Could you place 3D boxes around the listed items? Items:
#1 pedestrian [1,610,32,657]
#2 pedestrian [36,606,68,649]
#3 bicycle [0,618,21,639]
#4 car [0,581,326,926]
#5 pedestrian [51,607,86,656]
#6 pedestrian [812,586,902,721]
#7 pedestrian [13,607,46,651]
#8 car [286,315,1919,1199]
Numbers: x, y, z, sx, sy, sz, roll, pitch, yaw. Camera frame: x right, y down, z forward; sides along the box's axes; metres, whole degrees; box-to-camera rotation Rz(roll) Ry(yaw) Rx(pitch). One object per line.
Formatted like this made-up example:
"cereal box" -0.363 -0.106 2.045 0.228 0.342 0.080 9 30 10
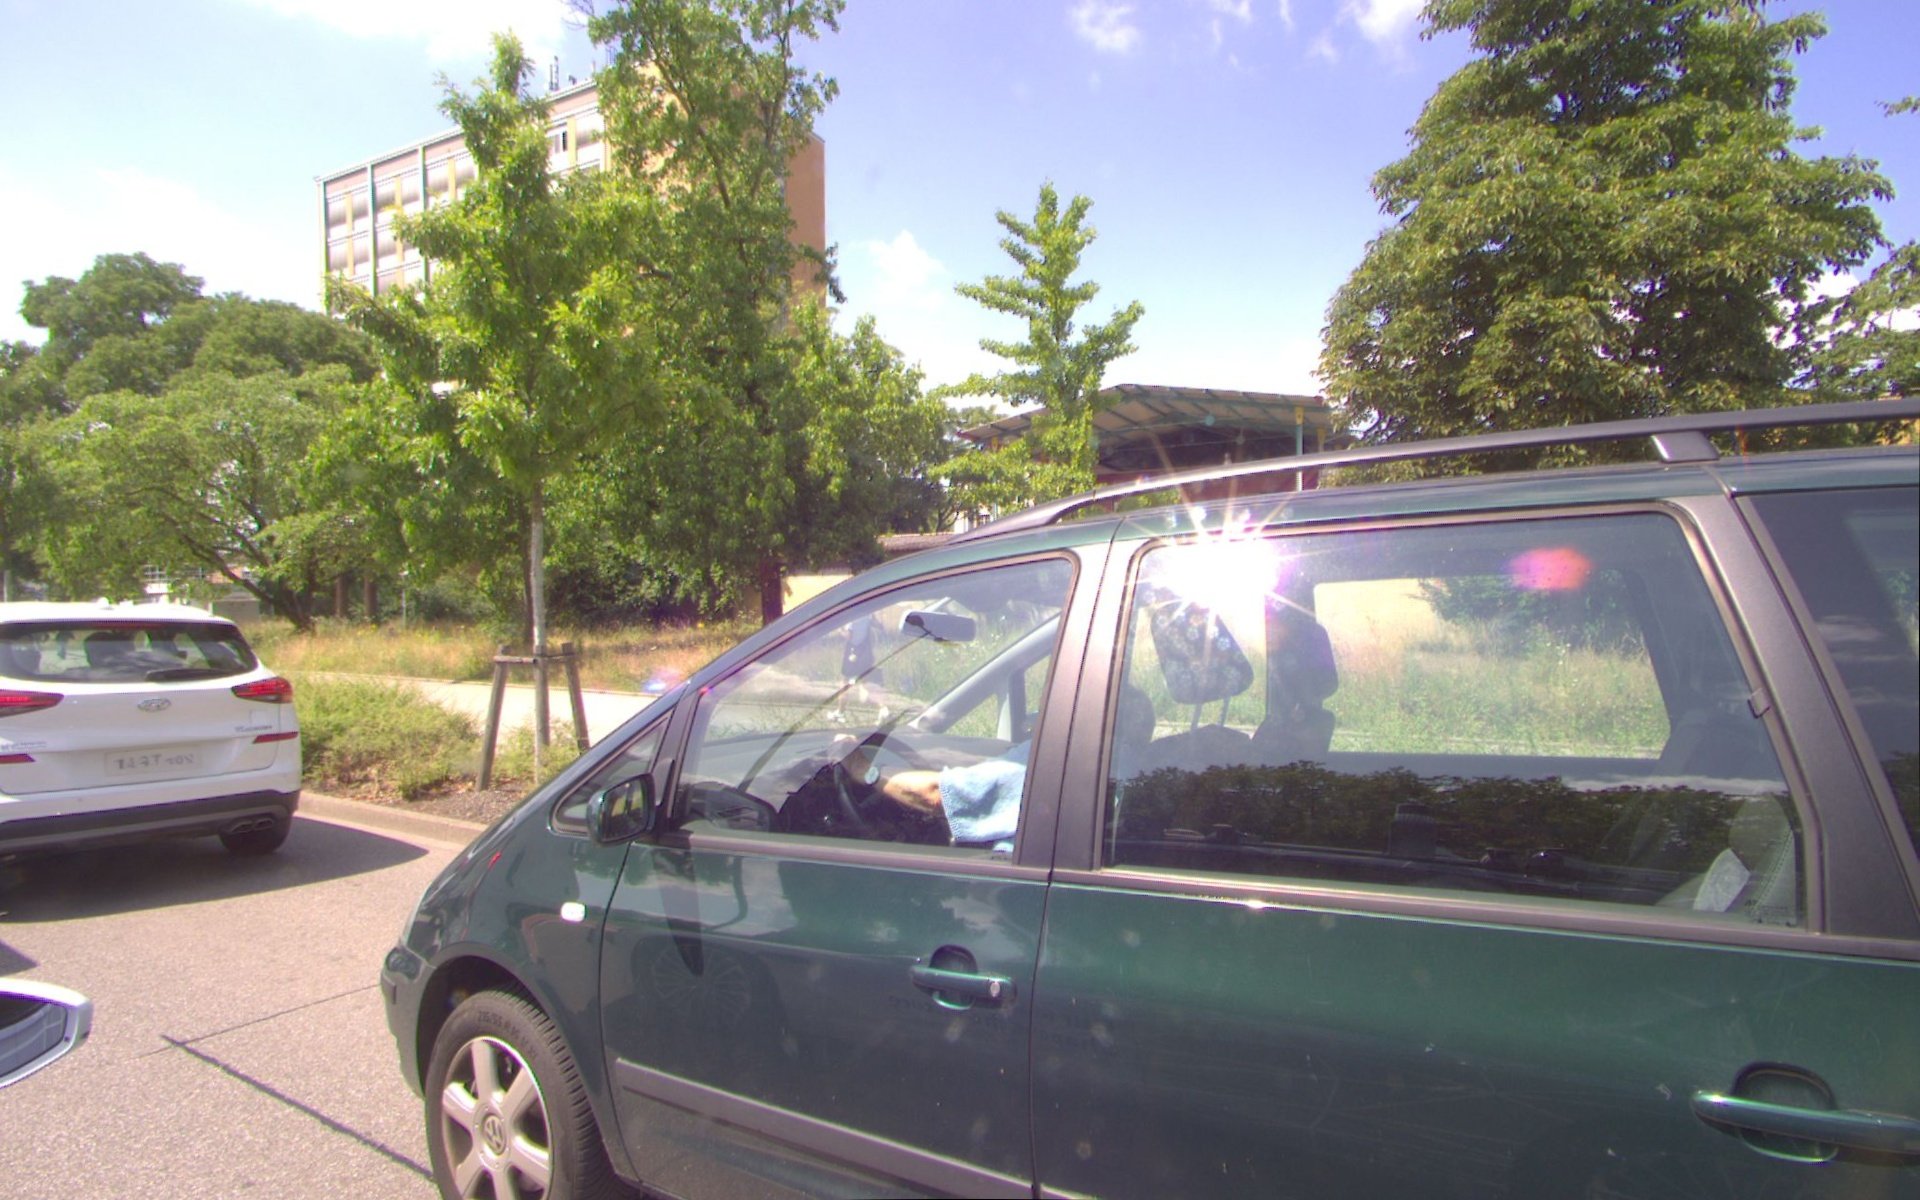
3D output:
"pedestrian" -38.431 1.341 40.790 0.805 1.874 0.756 0 1 36
"pedestrian" -39.672 1.201 43.767 0.803 1.874 0.759 0 1 24
"bicycle" -69.209 2.063 72.668 1.415 1.483 4.270 0 0 -42
"car" -6.025 0.769 6.511 3.919 1.701 1.810 0 0 34
"pedestrian" -30.958 1.079 34.780 0.805 1.677 0.756 0 1 36
"pedestrian" -1.245 0.624 12.167 0.804 1.578 0.757 0 1 32
"pedestrian" -40.023 1.240 43.052 0.802 1.874 0.759 0 1 22
"car" 0.537 0.630 2.265 4.329 1.737 1.799 0 -2 32
